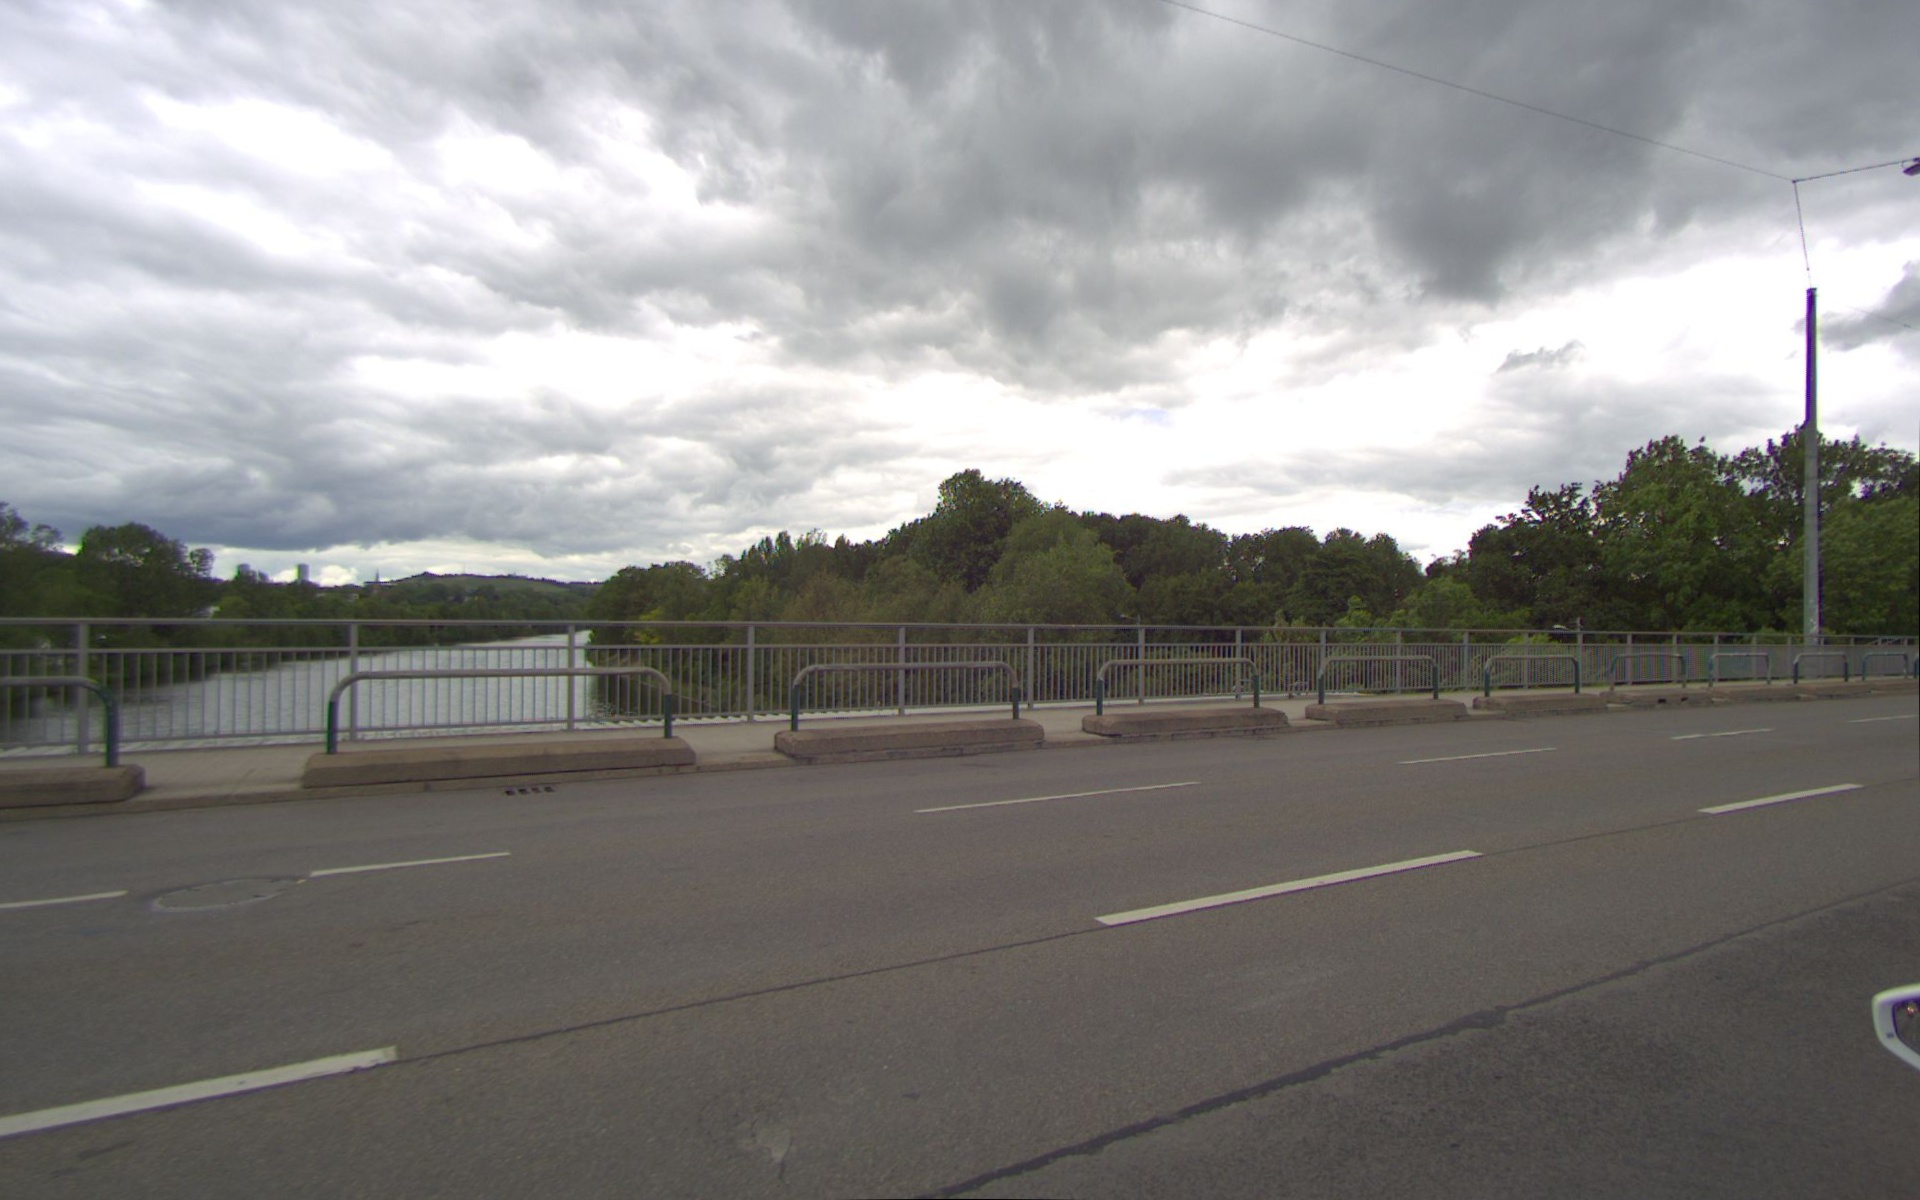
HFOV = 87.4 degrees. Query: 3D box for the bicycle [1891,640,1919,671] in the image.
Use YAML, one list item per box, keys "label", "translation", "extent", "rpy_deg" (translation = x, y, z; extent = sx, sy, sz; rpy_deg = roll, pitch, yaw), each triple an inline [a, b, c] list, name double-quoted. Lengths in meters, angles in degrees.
- label: "bicycle"
  translation: [34.449, 1.954, 35.058]
  extent: [0.911, 1.065, 2.773]
  rpy_deg: [1, -1, -34]
